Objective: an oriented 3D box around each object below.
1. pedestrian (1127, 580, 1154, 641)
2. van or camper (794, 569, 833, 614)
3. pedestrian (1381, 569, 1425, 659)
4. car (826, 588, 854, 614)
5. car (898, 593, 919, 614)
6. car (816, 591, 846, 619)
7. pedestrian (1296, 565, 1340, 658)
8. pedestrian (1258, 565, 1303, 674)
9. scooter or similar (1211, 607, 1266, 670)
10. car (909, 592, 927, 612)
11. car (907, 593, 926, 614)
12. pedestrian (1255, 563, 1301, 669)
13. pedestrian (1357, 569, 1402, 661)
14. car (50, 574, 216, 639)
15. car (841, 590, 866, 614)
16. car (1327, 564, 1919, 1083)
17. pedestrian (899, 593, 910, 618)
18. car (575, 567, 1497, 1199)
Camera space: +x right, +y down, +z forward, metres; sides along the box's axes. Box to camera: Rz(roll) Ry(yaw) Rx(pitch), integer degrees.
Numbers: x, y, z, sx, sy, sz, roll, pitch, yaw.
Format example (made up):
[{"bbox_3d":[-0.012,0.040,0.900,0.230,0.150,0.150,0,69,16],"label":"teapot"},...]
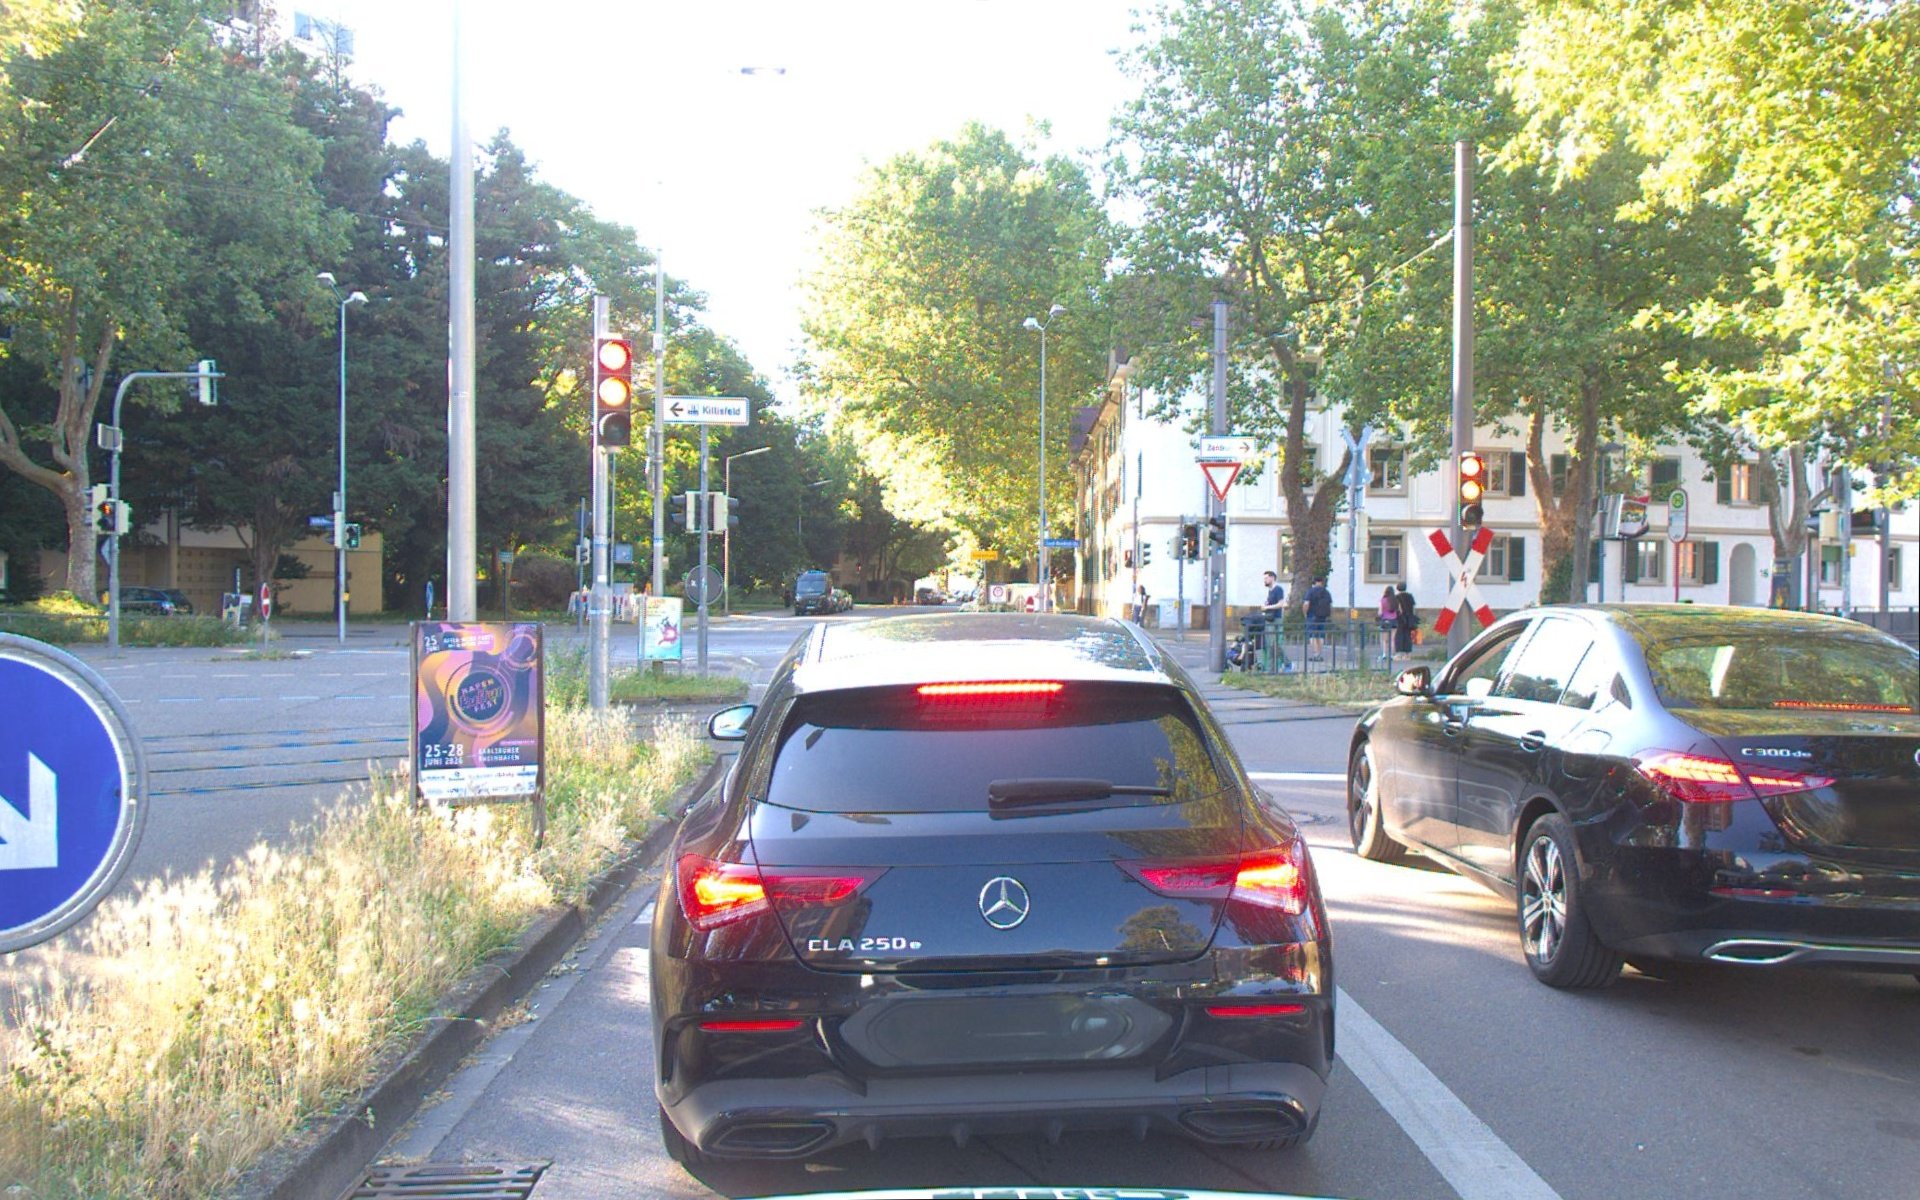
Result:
[{"bbox_3d":[5.901,0.337,54.128,0.691,1.951,0.838,1,-1,-4],"label":"pedestrian"},{"bbox_3d":[-8.795,-0.491,99.610,1.953,2.586,4.650,1,0,-1],"label":"van or camper"},{"bbox_3d":[9.859,0.312,36.815,0.691,1.951,0.838,1,-1,-4],"label":"pedestrian"},{"bbox_3d":[-8.489,0.096,117.462,1.698,1.796,4.084,1,0,-1],"label":"car"},{"bbox_3d":[-4.533,0.345,145.488,1.698,1.796,4.018,1,0,-1],"label":"car"},{"bbox_3d":[-8.536,0.315,109.623,1.698,1.796,4.340,1,0,-1],"label":"car"},{"bbox_3d":[7.658,0.251,35.424,0.691,1.951,0.838,1,-1,-4],"label":"pedestrian"},{"bbox_3d":[5.805,0.349,29.999,0.668,1.951,0.707,1,-1,0],"label":"pedestrian"},{"bbox_3d":[5.142,0.704,30.566,0.812,1.124,0.808,1,0,-6],"label":"scooter or similar"},{"bbox_3d":[-4.008,0.203,158.401,1.698,1.796,4.018,1,0,-1],"label":"car"},{"bbox_3d":[-3.959,0.313,150.317,1.698,1.796,4.018,1,0,-1],"label":"car"},{"bbox_3d":[5.937,0.302,30.889,0.669,1.951,0.706,1,-1,-5],"label":"pedestrian"},{"bbox_3d":[9.068,0.324,35.803,0.691,1.951,0.838,1,-1,-4],"label":"pedestrian"},{"bbox_3d":[-24.380,0.196,48.846,3.902,1.805,2.001,1,0,7],"label":"car"},{"bbox_3d":[-8.137,0.140,126.276,1.698,1.796,3.970,1,0,-1],"label":"car"},{"bbox_3d":[3.107,0.657,7.304,1.851,1.516,4.381,1,2,-2],"label":"car"},{"bbox_3d":[-4.368,0.450,129.952,0.692,1.951,0.837,1,-1,-11],"label":"pedestrian"},{"bbox_3d":[0.168,0.686,5.365,1.851,1.475,4.001,1,2,0],"label":"car"}]
